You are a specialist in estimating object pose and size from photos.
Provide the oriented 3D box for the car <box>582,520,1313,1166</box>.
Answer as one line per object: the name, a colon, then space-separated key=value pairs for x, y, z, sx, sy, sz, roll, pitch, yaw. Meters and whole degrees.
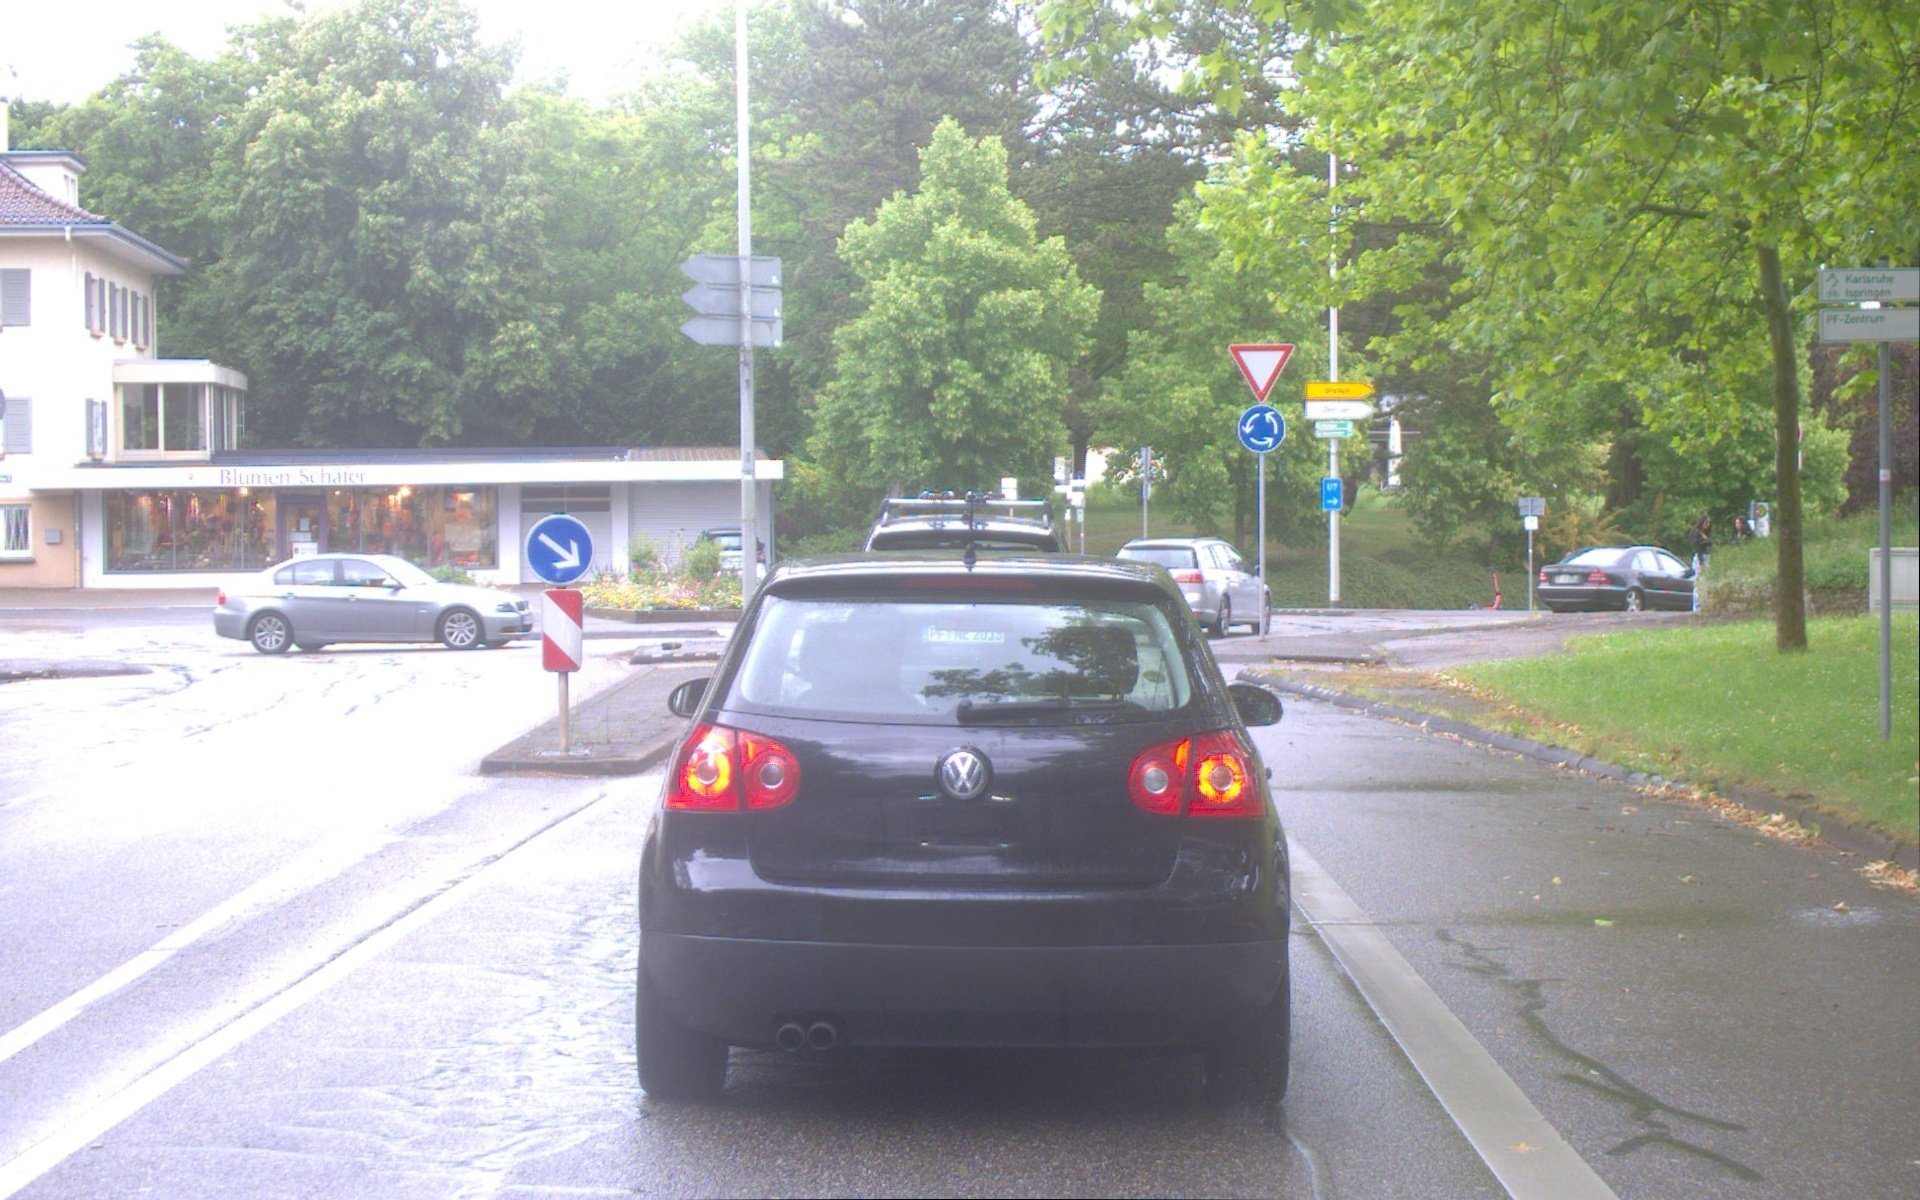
car: x=-0.047 y=0.551 z=10.423 sx=1.765 sy=1.533 sz=4.000 roll=1 pitch=2 yaw=0

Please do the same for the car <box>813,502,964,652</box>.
car: x=-0.875 y=-0.310 z=44.262 sx=1.765 sy=1.795 sz=4.246 roll=-1 pitch=1 yaw=1

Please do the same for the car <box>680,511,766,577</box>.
car: x=-5.642 y=-1.333 z=81.475 sx=1.812 sy=1.481 sz=3.832 roll=-2 pitch=1 yaw=-7

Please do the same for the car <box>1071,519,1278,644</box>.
car: x=3.213 y=-0.273 z=50.728 sx=1.995 sy=1.735 sz=4.140 roll=1 pitch=1 yaw=19

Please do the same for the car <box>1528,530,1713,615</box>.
car: x=12.508 y=-0.512 z=64.918 sx=1.997 sy=1.525 sz=3.992 roll=1 pitch=1 yaw=34

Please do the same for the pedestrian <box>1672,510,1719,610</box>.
pedestrian: x=12.632 y=-0.685 z=59.050 sx=0.528 sy=1.707 sz=0.636 roll=1 pitch=0 yaw=-14

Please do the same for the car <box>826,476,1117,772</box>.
car: x=0.021 y=0.125 z=23.474 sx=1.764 sy=1.795 sz=4.246 roll=-1 pitch=1 yaw=-1

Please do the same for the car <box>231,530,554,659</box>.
car: x=-7.989 y=-0.090 z=48.585 sx=4.021 sy=1.678 sz=1.999 roll=-1 pitch=1 yaw=10

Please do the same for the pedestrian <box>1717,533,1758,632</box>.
pedestrian: x=13.521 y=-0.312 z=59.791 sx=0.634 sy=1.707 sz=0.529 roll=1 pitch=0 yaw=16
